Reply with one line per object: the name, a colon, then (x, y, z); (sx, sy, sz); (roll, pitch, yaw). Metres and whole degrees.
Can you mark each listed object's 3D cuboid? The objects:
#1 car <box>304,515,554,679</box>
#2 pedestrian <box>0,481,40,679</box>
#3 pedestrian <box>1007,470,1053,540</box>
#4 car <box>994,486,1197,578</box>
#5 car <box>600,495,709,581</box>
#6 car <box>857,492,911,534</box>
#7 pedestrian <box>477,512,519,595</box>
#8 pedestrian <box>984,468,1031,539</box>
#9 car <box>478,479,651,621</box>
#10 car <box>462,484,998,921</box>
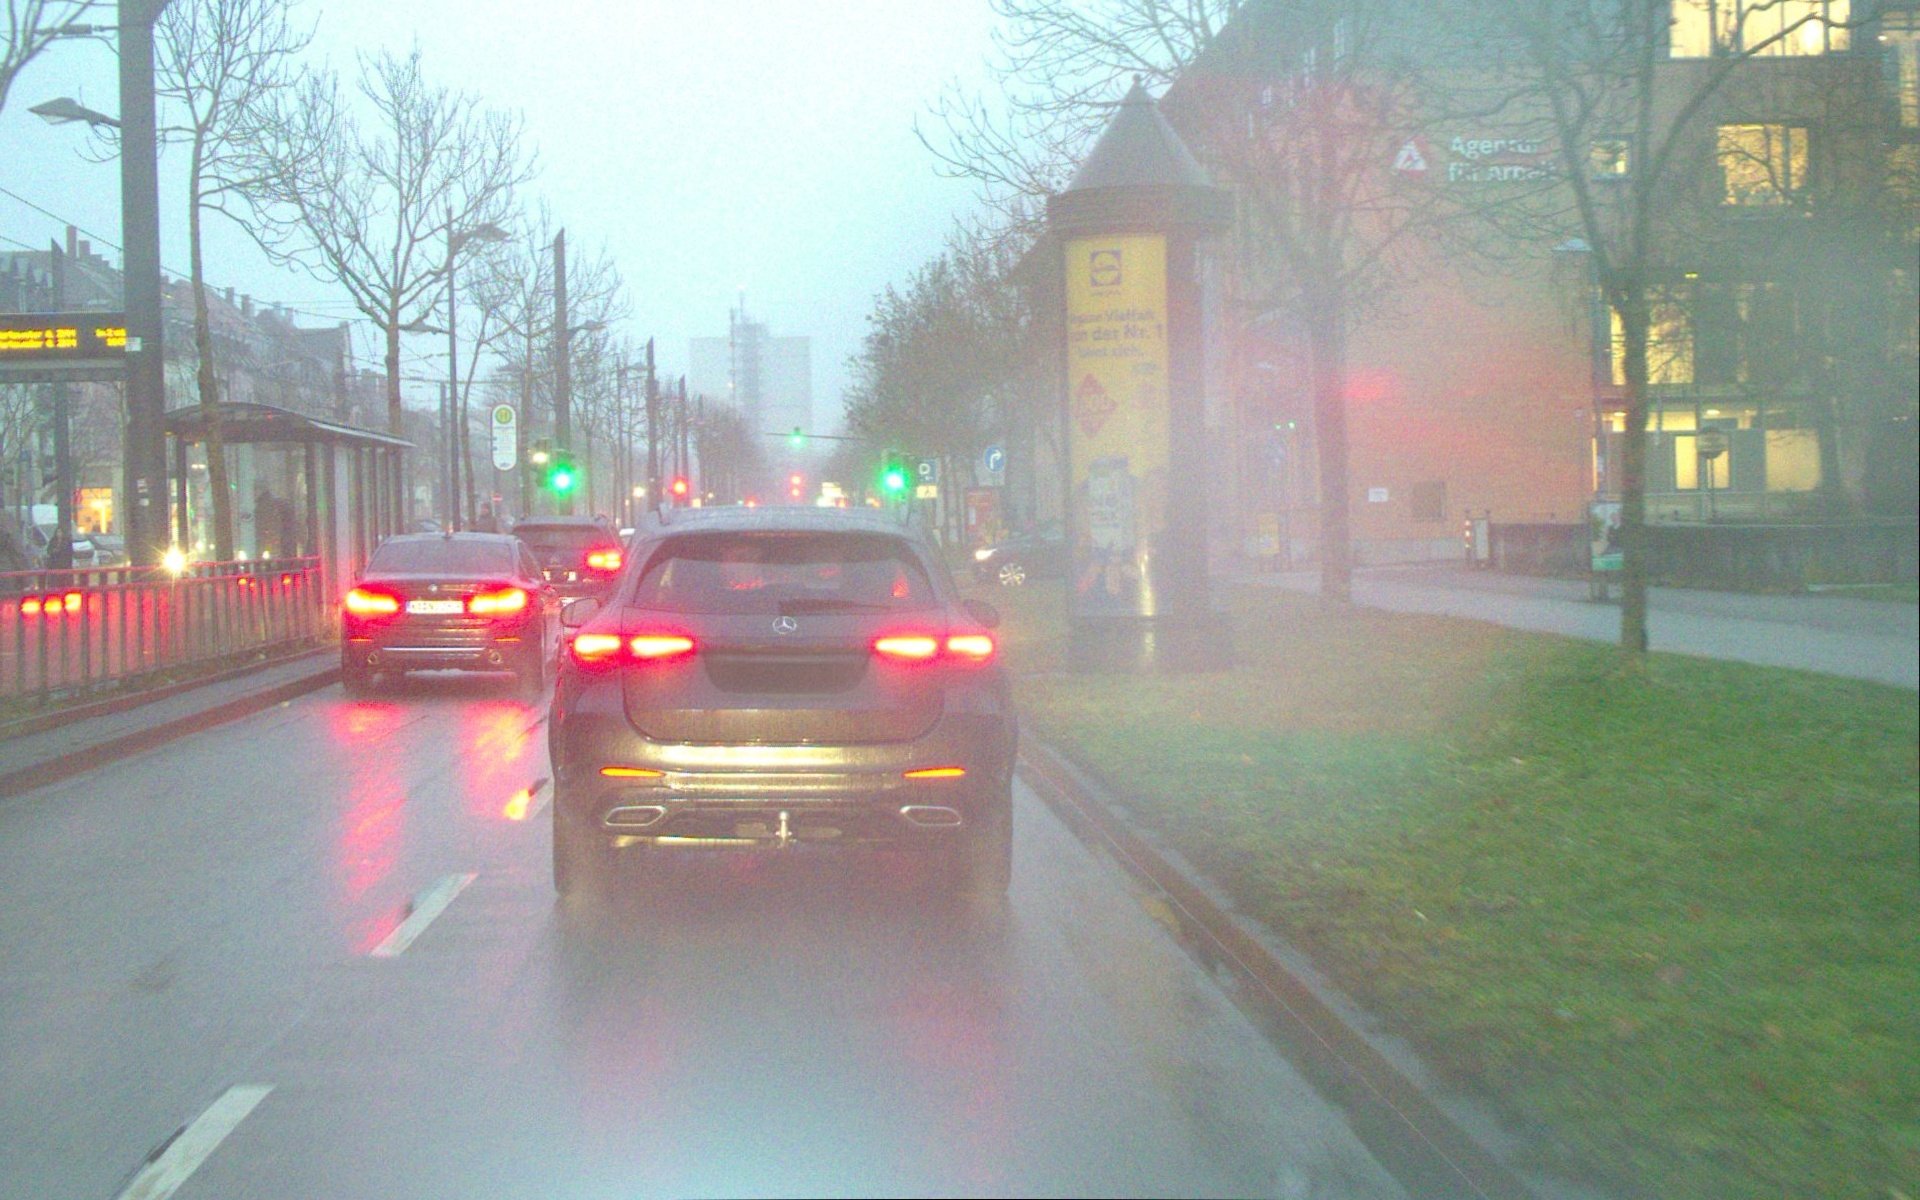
car: (-4.987, -0.079, 32.785); (1.993, 1.393, 4.001); (-2, 2, -4)
pedestrian: (-7.951, -0.169, 28.073); (0.710, 1.601, 0.747); (0, 1, -4)
pedestrian: (1.630, -2.209, 80.143); (0.903, 1.590, 0.501); (-1, 2, 40)
car: (2.670, -1.364, 68.585); (3.860, 1.555, 1.766); (-4, 2, -1)
car: (-6.073, -1.261, 68.750); (1.993, 1.612, 4.001); (-2, 2, -3)
car: (-3.085, -3.484, 138.050); (1.993, 1.593, 4.001); (-2, 2, -3)
pedestrian: (-8.803, -0.898, 65.528); (0.698, 1.547, 0.669); (-2, 2, -3)
pedestrian: (1.077, -2.187, 78.158); (0.903, 1.590, 0.501); (-1, 2, 40)
car: (-5.237, -0.704, 45.947); (1.993, 1.759, 4.001); (-2, 2, -3)
car: (-0.959, 0.328, 15.111); (1.990, 1.610, 4.001); (-2, 2, -2)
